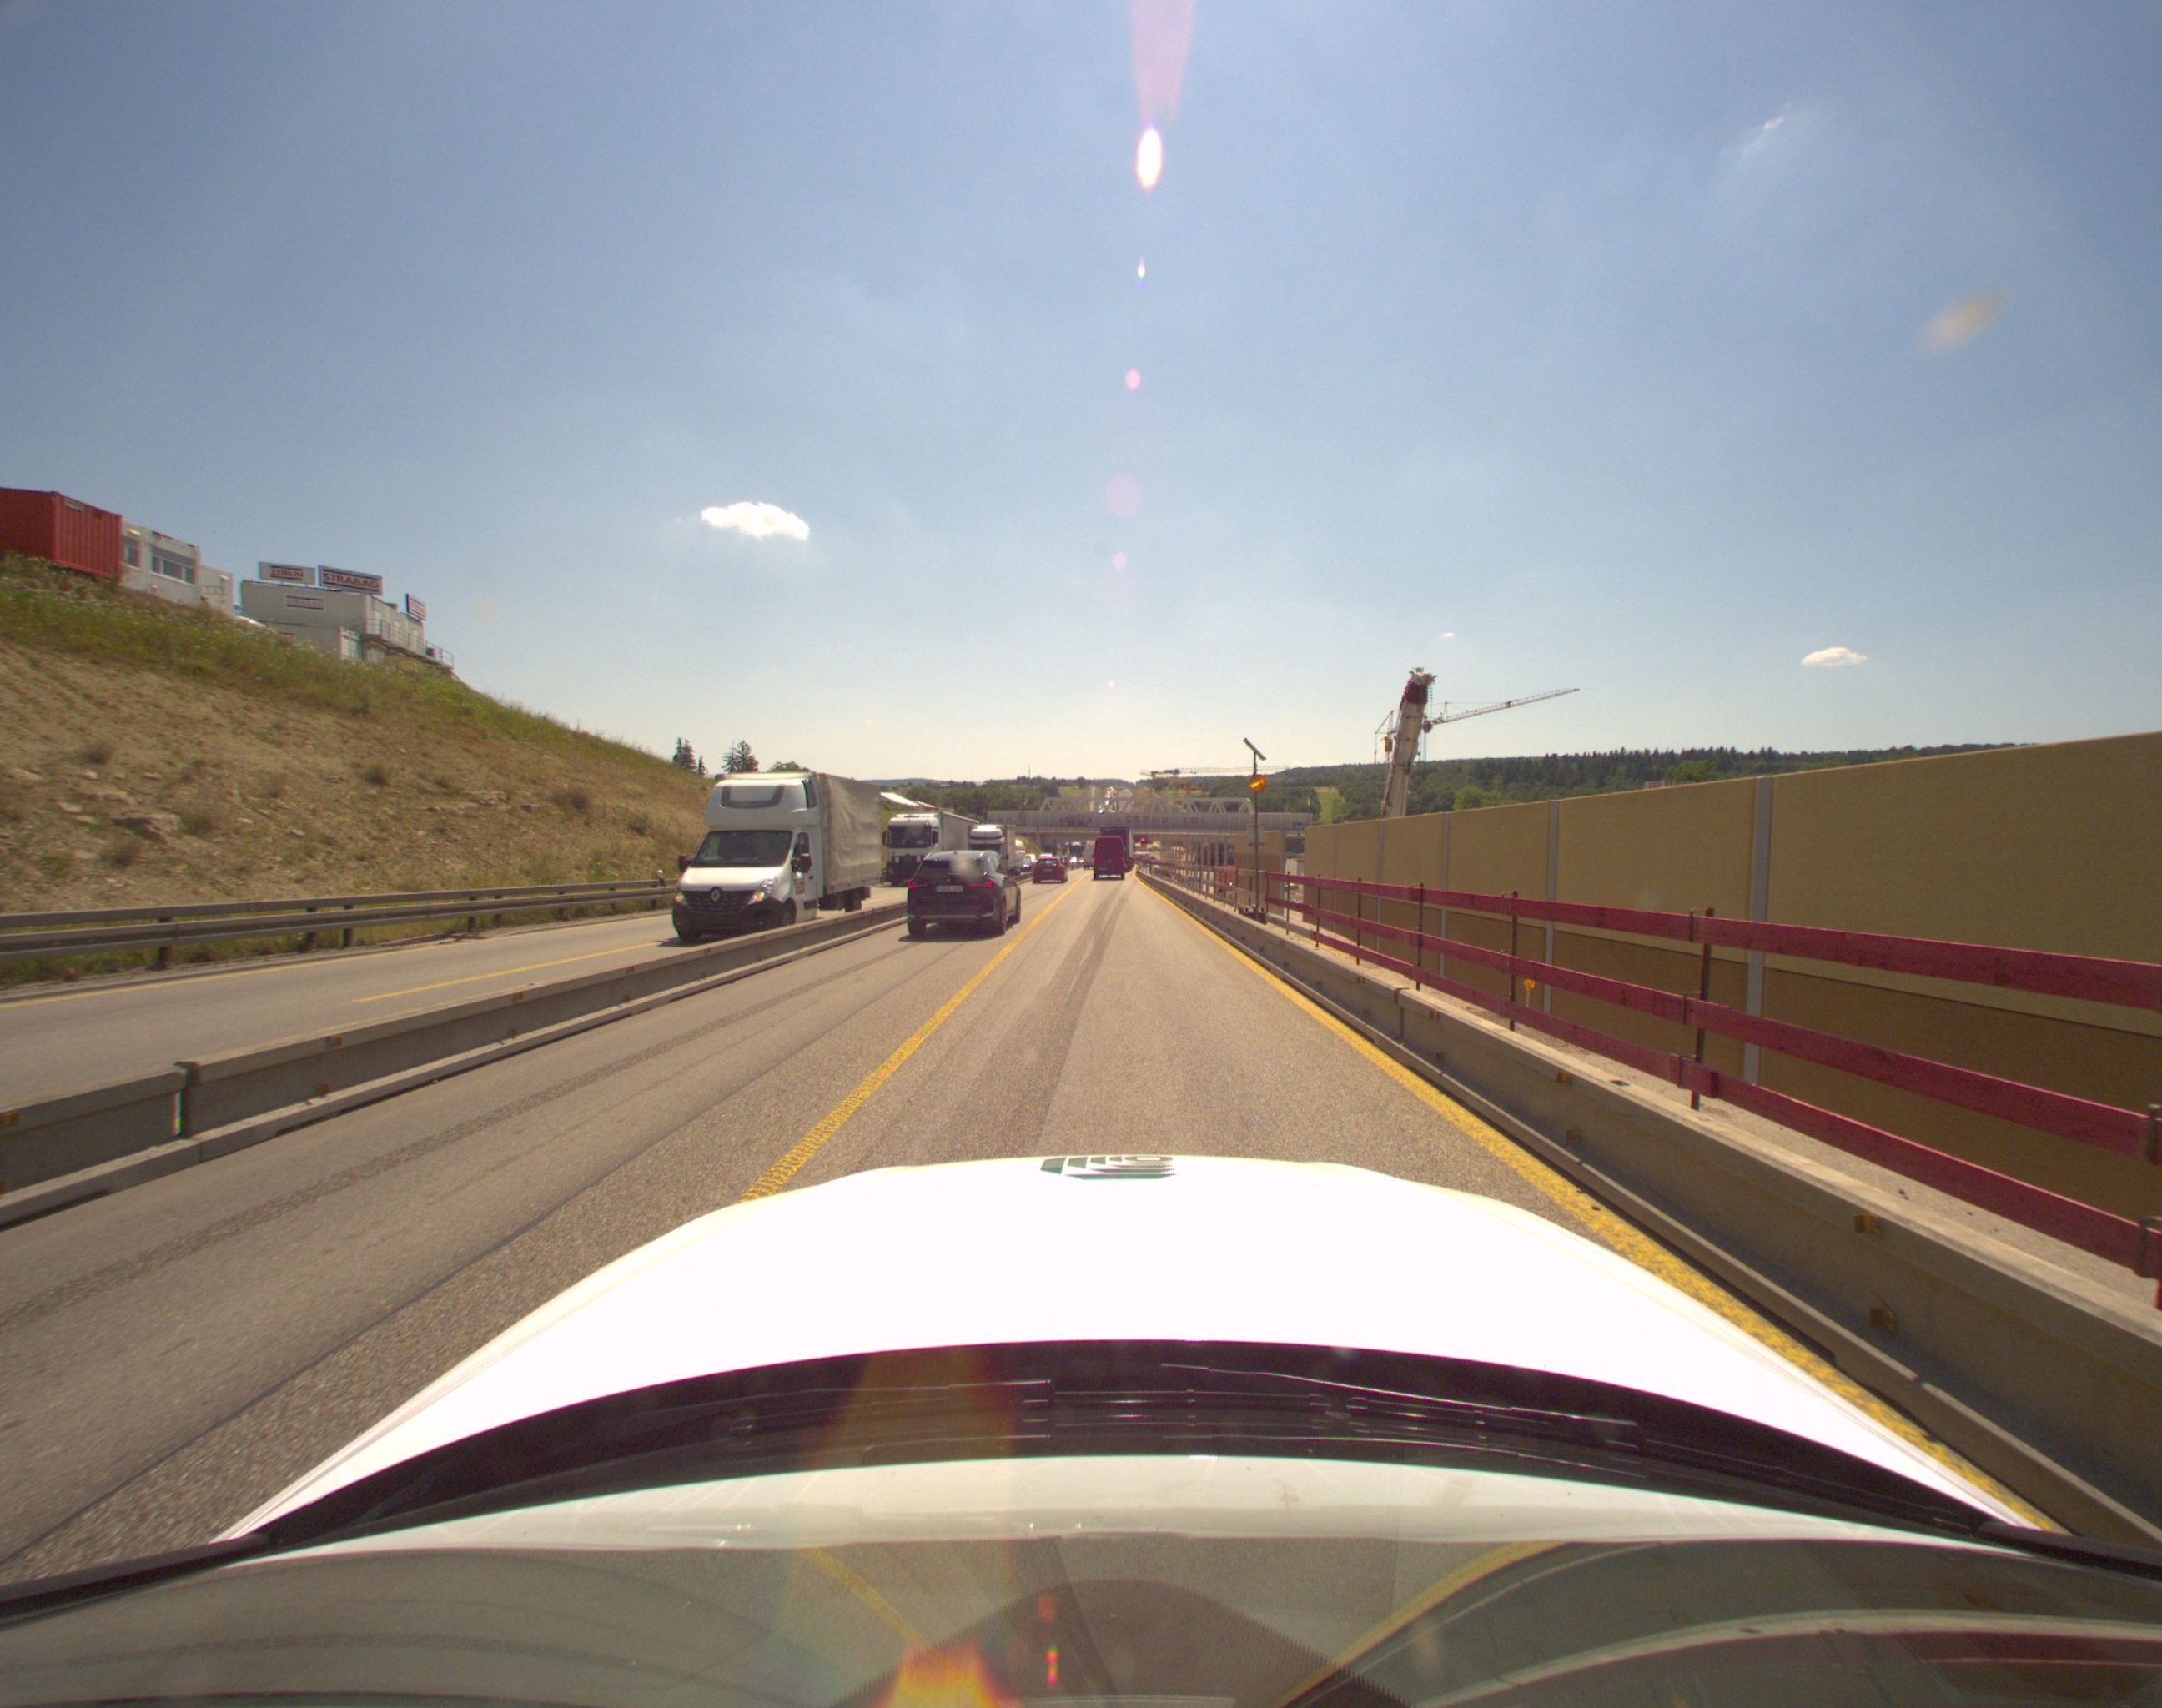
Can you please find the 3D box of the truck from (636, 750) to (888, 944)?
[{"bbox_3d":[-6.377,-0.124,17.678,2.529,3.374,7.040,0,0,1],"label":"truck"}]

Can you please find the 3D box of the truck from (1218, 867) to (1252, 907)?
[{"bbox_3d":[15.987,3.399,85.081,2.747,3.886,5.887,0,0,3],"label":"truck"}]

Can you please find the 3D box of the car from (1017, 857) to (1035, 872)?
[{"bbox_3d":[-6.787,1.288,101.149,1.784,1.763,4.538,-1,0,1],"label":"car"}]

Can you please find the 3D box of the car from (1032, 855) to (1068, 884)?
[{"bbox_3d":[-1.686,0.849,45.652,1.769,1.517,4.207,-1,0,1],"label":"car"}]

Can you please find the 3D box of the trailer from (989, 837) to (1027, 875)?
[{"bbox_3d":[-7.658,0.172,86.638,2.580,3.801,11.922,0,0,2],"label":"trailer"}]

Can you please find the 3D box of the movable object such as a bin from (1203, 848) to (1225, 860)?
[{"bbox_3d":[31.343,0.002,192.383,5.118,2.807,2.147,0,0,7],"label":"movable object such as a bin"}]

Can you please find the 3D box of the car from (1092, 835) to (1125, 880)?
[{"bbox_3d":[1.716,0.185,51.663,1.981,2.690,4.625,-1,0,2],"label":"car"}]

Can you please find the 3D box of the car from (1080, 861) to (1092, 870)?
[{"bbox_3d":[0.852,1.837,136.092,1.792,1.447,4.642,0,0,4],"label":"car"}]

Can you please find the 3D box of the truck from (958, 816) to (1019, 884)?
[{"bbox_3d":[-5.333,-0.226,48.294,2.580,3.758,7.360,0,0,1],"label":"truck"}]

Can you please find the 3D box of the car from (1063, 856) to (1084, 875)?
[{"bbox_3d":[-0.673,1.016,74.904,1.833,1.654,4.166,-1,0,1],"label":"car"}]

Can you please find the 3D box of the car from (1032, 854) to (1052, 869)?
[{"bbox_3d":[-4.446,0.835,93.583,1.872,1.745,4.485,-1,0,2],"label":"car"}]

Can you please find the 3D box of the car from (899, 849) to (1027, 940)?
[{"bbox_3d":[-2.277,0.721,16.943,1.873,1.618,4.501,-1,0,2],"label":"car"}]

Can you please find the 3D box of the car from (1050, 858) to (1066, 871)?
[{"bbox_3d":[-2.934,1.354,105.448,1.783,1.611,4.736,0,0,3],"label":"car"}]

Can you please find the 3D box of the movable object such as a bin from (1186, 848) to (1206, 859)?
[{"bbox_3d":[28.921,-0.046,204.737,5.118,2.807,2.147,0,0,7],"label":"movable object such as a bin"}]

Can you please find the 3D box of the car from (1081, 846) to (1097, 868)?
[{"bbox_3d":[0.916,0.319,92.931,1.769,2.441,4.207,-1,0,2],"label":"car"}]

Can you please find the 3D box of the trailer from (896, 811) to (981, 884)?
[{"bbox_3d":[-8.655,-0.375,51.557,2.688,4.024,13.706,0,0,1],"label":"trailer"}]

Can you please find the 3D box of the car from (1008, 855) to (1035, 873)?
[{"bbox_3d":[-4.938,0.828,68.038,1.773,1.458,4.721,0,0,1],"label":"car"}]

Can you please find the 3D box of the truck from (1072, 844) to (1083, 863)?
[{"bbox_3d":[-0.779,-0.104,171.273,2.350,4.015,4.000,0,0,0],"label":"truck"}]

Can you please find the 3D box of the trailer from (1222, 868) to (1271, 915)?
[{"bbox_3d":[15.566,3.407,77.613,2.747,3.886,13.060,0,0,3],"label":"trailer"}]

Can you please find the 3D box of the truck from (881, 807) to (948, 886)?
[{"bbox_3d":[-8.832,-0.376,43.647,2.688,4.050,3.956,0,0,1],"label":"truck"}]

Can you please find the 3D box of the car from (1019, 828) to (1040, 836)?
[{"bbox_3d":[-11.874,-5.103,187.899,4.520,1.783,1.968,0,0,15],"label":"car"}]

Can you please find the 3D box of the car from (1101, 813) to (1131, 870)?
[{"bbox_3d":[3.240,-1.088,77.263,2.611,5.032,10.400,-1,0,2],"label":"car"}]
